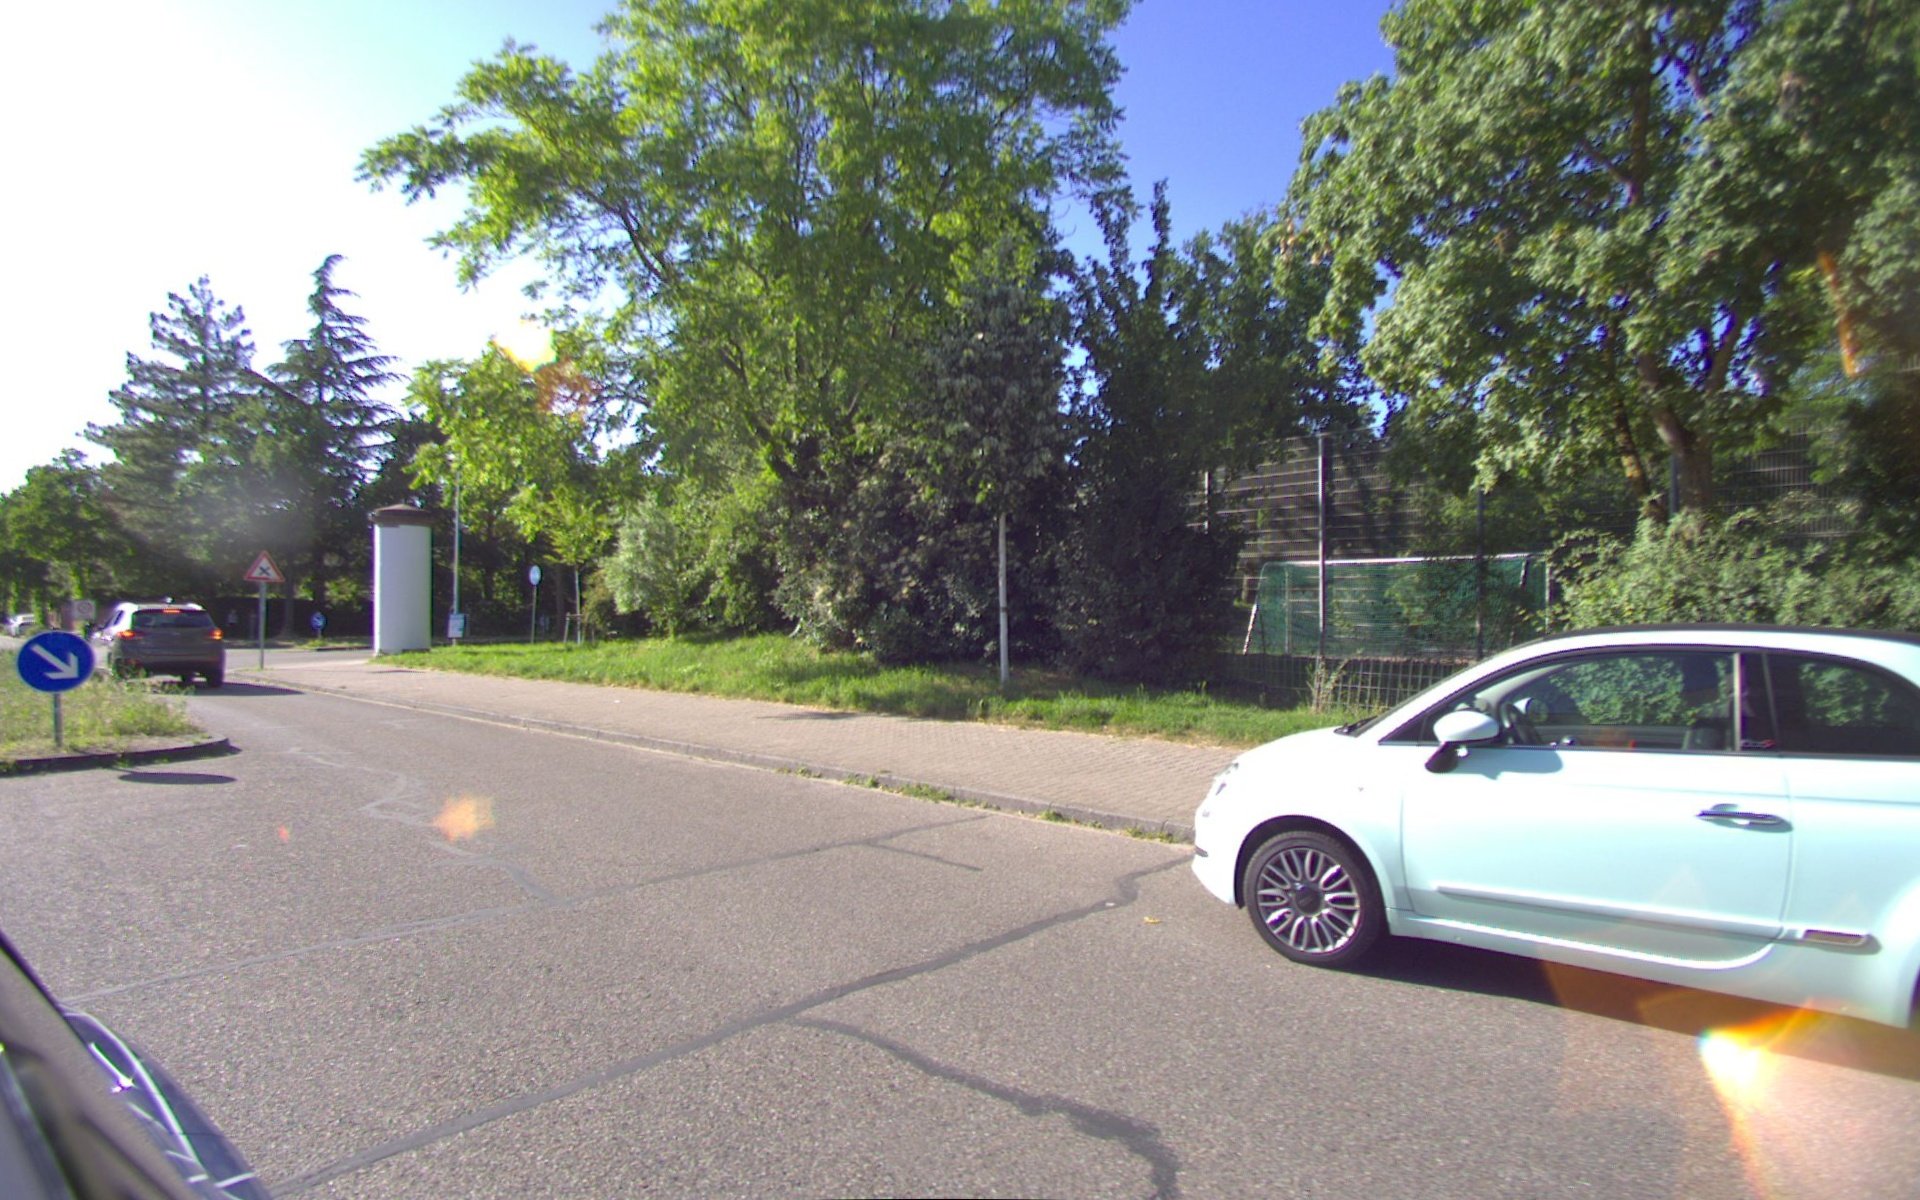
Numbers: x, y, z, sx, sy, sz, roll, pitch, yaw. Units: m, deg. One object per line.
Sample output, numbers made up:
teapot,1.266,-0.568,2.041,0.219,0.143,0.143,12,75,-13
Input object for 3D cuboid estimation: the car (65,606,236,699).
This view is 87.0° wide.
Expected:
car,-16.783,1.009,20.929,4.181,1.718,1.894,0,-2,39

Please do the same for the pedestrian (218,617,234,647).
pedestrian,-37.762,1.619,52.062,0.393,1.532,0.535,0,-1,18

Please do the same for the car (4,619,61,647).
car,-58.823,2.035,64.153,3.994,1.671,1.975,0,-1,37

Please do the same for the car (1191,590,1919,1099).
car,2.869,0.756,4.136,3.415,1.539,1.610,-1,-1,38

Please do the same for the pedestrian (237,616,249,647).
pedestrian,-36.978,1.606,52.200,0.390,1.573,0.539,2,-1,-45
